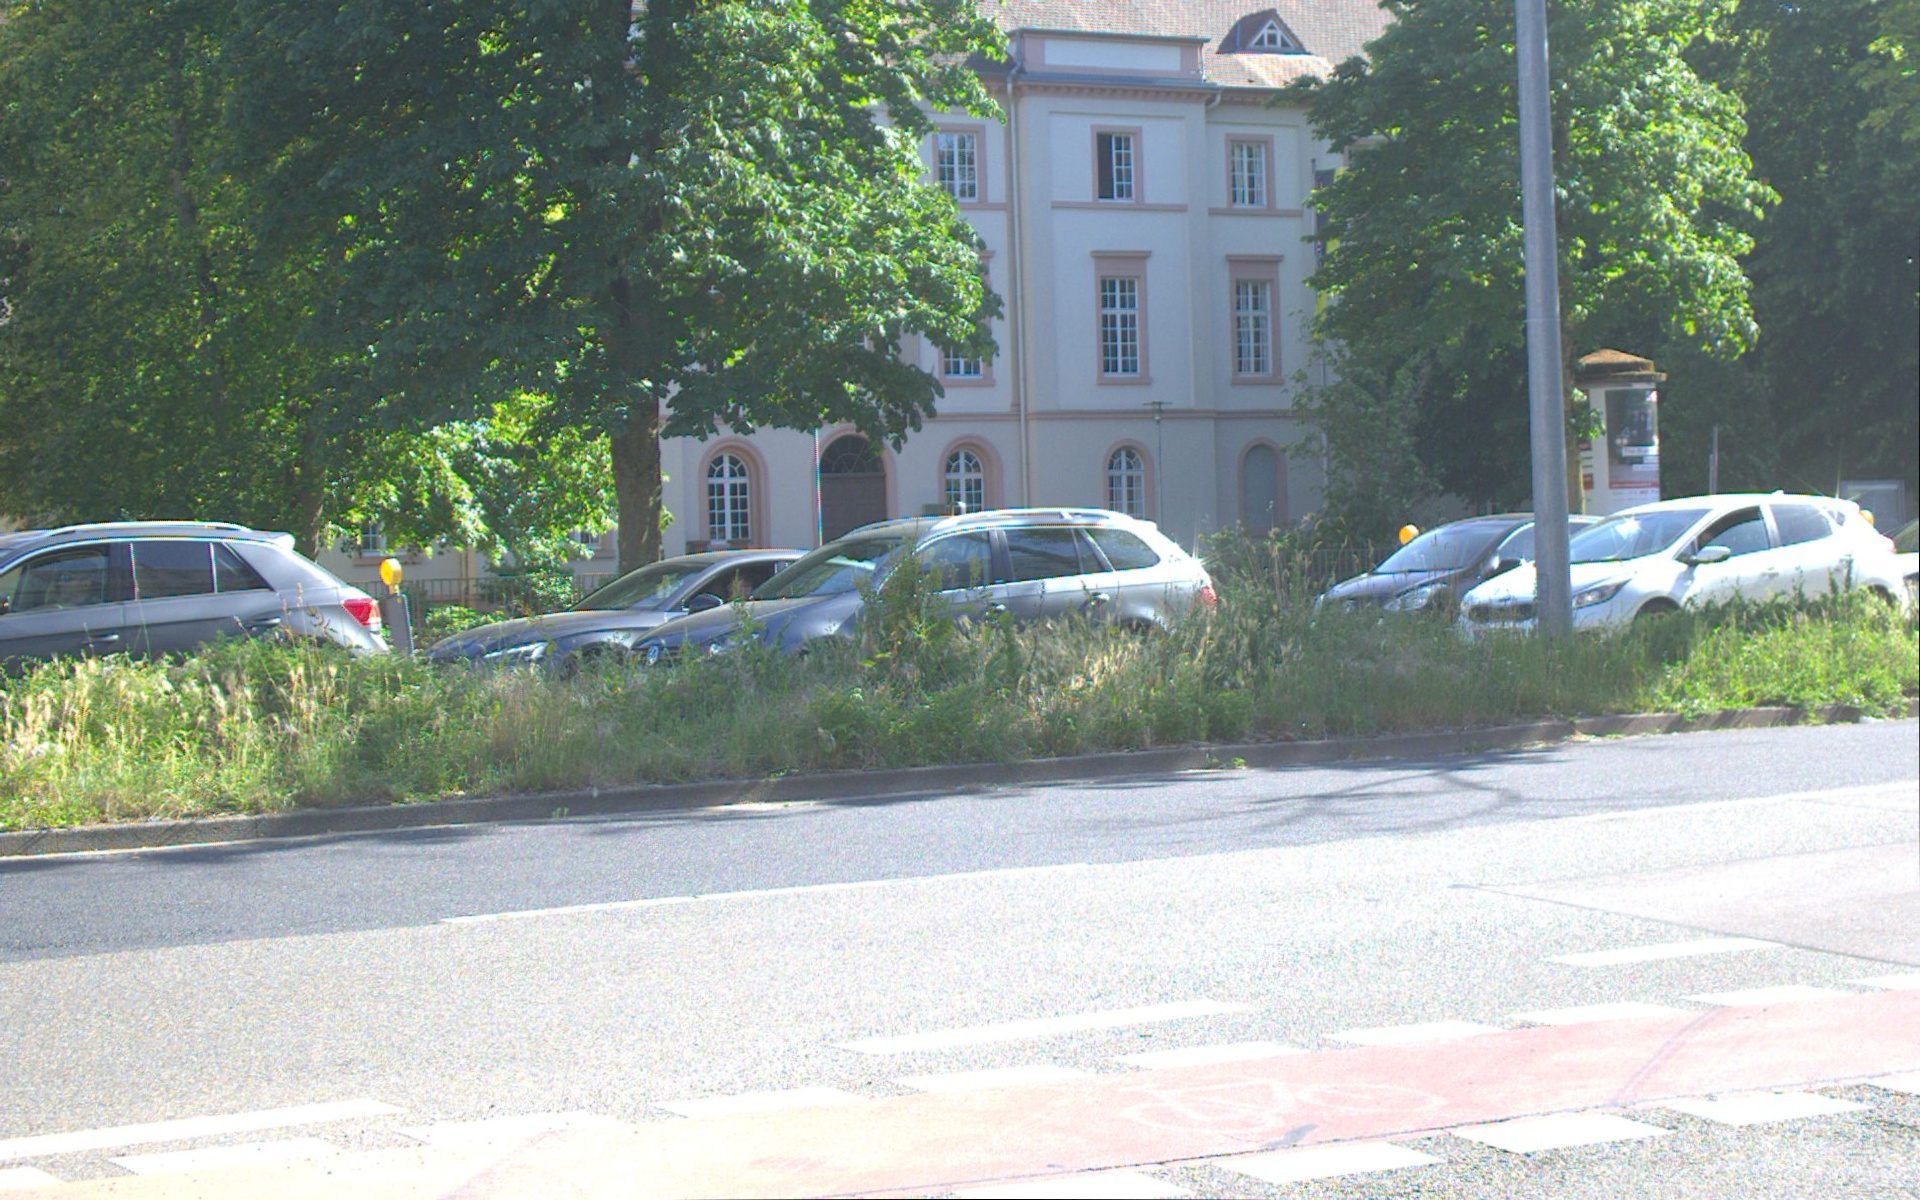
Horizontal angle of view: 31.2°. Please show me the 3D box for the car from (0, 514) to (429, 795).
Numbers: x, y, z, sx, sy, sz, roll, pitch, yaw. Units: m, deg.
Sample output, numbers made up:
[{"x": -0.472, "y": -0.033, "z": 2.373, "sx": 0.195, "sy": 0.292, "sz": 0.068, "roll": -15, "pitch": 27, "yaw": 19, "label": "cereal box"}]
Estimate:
[{"x": -5.437, "y": 0.289, "z": 19.835, "sx": 4.334, "sy": 1.514, "sz": 1.801, "roll": -2, "pitch": 2, "yaw": -36, "label": "car"}]

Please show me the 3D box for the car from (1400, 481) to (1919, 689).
[{"x": 5.748, "y": -0.155, "z": 27.955, "sx": 4.192, "sy": 1.514, "sz": 1.801, "roll": -3, "pitch": 1, "yaw": -36, "label": "car"}]

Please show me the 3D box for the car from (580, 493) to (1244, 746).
[{"x": -0.278, "y": 0.071, "z": 23.900, "sx": 4.350, "sy": 1.513, "sz": 1.801, "roll": -3, "pitch": 2, "yaw": -36, "label": "car"}]

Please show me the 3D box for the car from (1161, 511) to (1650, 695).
[{"x": 4.070, "y": -0.022, "z": 31.084, "sx": 4.334, "sy": 1.514, "sz": 1.801, "roll": -2, "pitch": 2, "yaw": -36, "label": "car"}]

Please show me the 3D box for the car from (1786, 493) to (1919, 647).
[{"x": 10.631, "y": -0.364, "z": 35.648, "sx": 4.067, "sy": 1.514, "sz": 1.801, "roll": -2, "pitch": 1, "yaw": -36, "label": "car"}]

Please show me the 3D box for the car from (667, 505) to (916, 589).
[{"x": -3.257, "y": -1.021, "z": 67.044, "sx": 4.670, "sy": 1.487, "sz": 1.647, "roll": 1, "pitch": 0, "yaw": -36, "label": "car"}]

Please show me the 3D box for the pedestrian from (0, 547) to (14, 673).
[{"x": -12.064, "y": 0.130, "z": 41.821, "sx": 0.779, "sy": 1.530, "sz": 0.742, "roll": -2, "pitch": 1, "yaw": -41, "label": "pedestrian"}]

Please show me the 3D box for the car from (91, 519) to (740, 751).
[{"x": -3.934, "y": 0.193, "z": 25.189, "sx": 4.334, "sy": 1.514, "sz": 1.801, "roll": -2, "pitch": 2, "yaw": -36, "label": "car"}]
